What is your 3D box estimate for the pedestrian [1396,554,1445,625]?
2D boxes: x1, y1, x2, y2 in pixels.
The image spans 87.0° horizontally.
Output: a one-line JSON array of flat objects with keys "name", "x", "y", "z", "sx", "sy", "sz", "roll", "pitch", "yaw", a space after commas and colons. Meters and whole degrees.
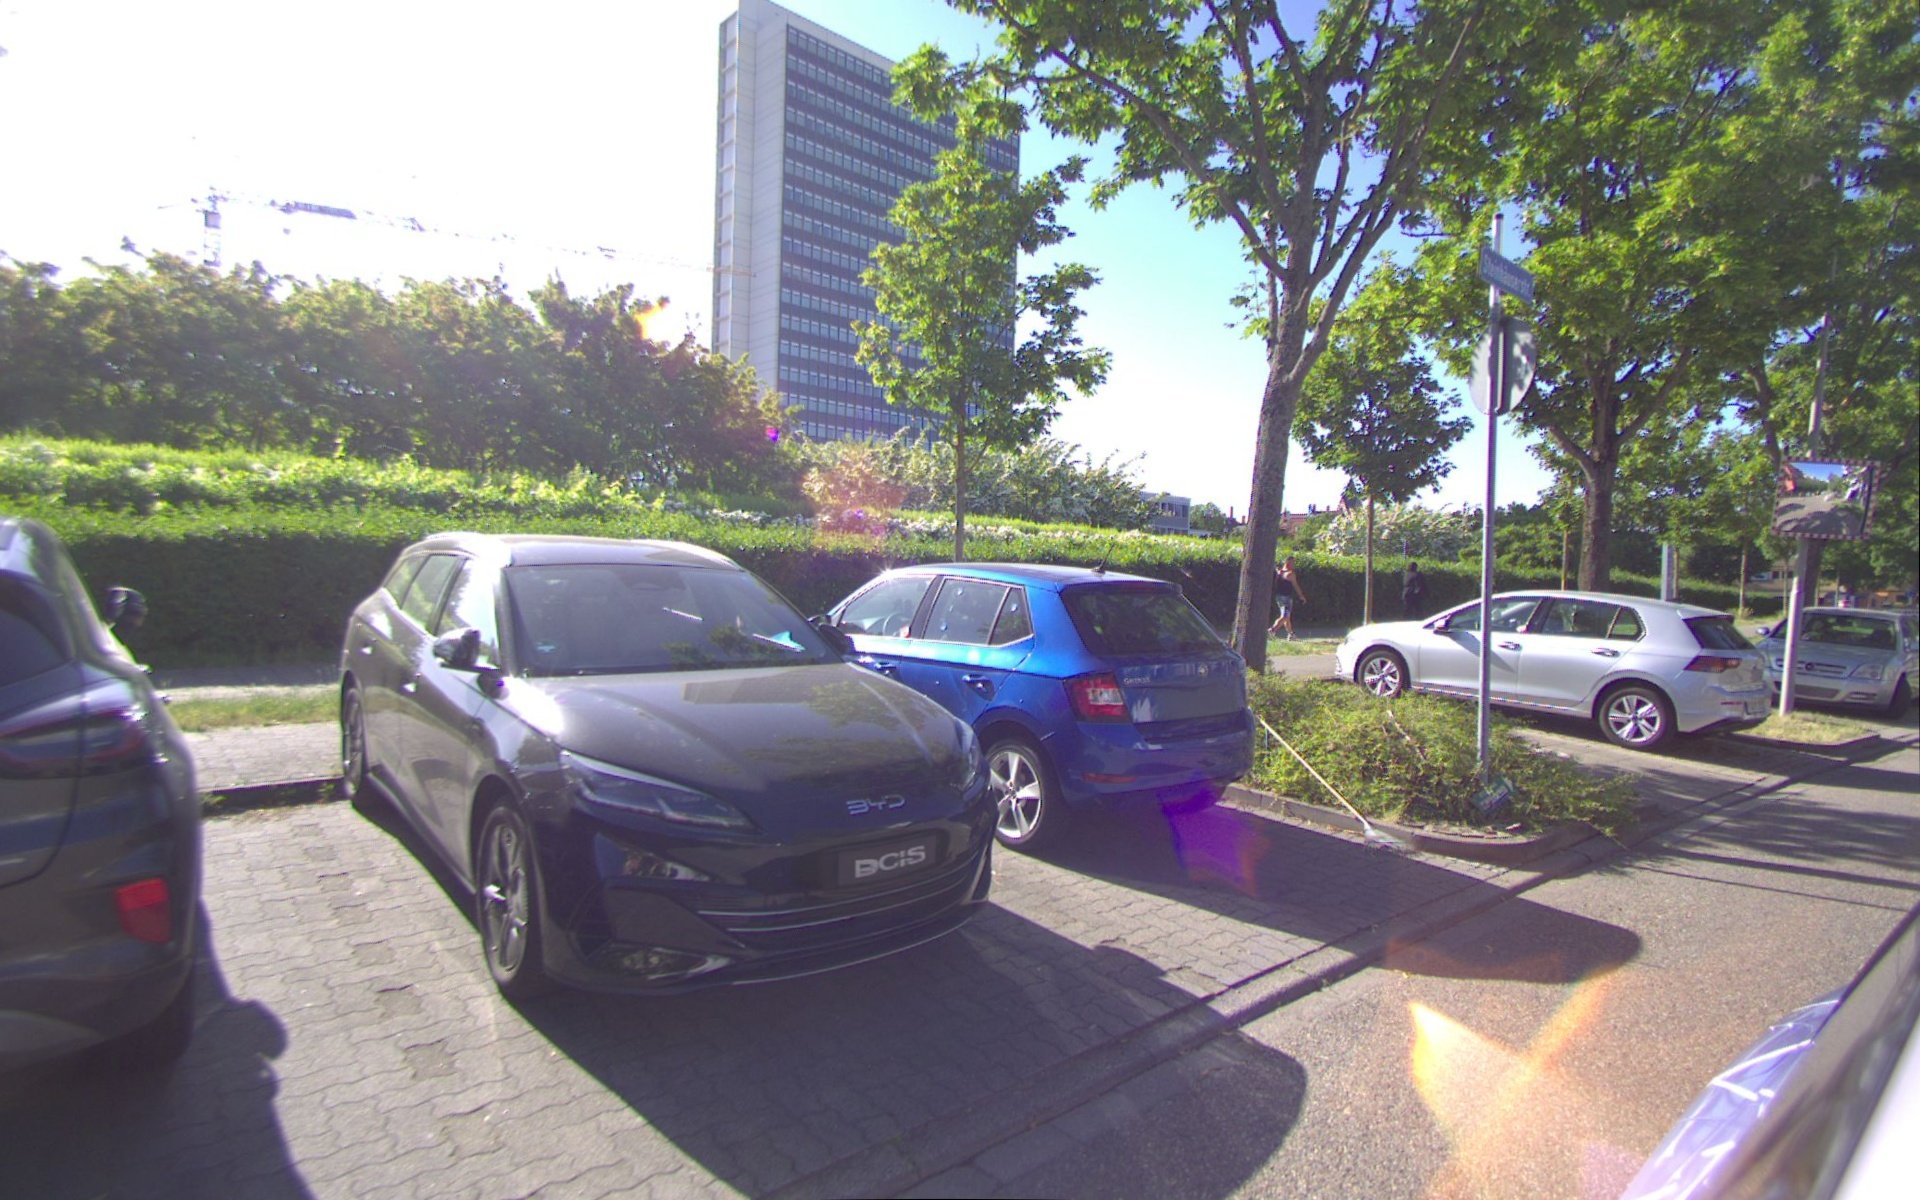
[{"name": "pedestrian", "x": 10.818, "y": -0.247, "z": 23.767, "sx": 0.838, "sy": 1.607, "sz": 0.725, "roll": 1, "pitch": 2, "yaw": -40}]

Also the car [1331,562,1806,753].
[{"name": "car", "x": 6.405, "y": 0.455, "z": 11.148, "sx": 1.611, "sy": 1.446, "sz": 4.106, "roll": 1, "pitch": 5, "yaw": -35}]

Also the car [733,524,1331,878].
[{"name": "car", "x": 0.191, "y": 0.356, "z": 6.667, "sx": 1.714, "sy": 1.465, "sz": 3.817, "roll": 0, "pitch": 6, "yaw": -40}]

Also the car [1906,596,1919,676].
[{"name": "car", "x": 20.164, "y": 0.752, "z": 19.768, "sx": 3.693, "sy": 1.511, "sz": 1.650, "roll": 1, "pitch": 4, "yaw": -35}]

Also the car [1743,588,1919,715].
[{"name": "car", "x": 13.581, "y": 0.665, "z": 15.226, "sx": 4.541, "sy": 1.511, "sz": 1.814, "roll": 0, "pitch": 4, "yaw": -40}]

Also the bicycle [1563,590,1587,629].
[{"name": "bicycle", "x": 14.996, "y": 0.220, "z": 24.670, "sx": 0.345, "sy": 0.877, "sz": 1.391, "roll": 4, "pitch": 3, "yaw": 35}]

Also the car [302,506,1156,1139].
[{"name": "car", "x": -1.563, "y": 0.392, "z": 4.915, "sx": 2.121, "sy": 1.533, "sz": 4.560, "roll": 0, "pitch": 5, "yaw": -41}]

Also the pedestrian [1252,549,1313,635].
[{"name": "pedestrian", "x": 5.987, "y": -0.154, "z": 18.768, "sx": 0.920, "sy": 1.561, "sz": 0.608, "roll": 1, "pitch": 2, "yaw": -37}]

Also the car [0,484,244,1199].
[{"name": "car", "x": -3.573, "y": 0.380, "z": 3.226, "sx": 1.720, "sy": 1.533, "sz": 3.884, "roll": 0, "pitch": 5, "yaw": -41}]
